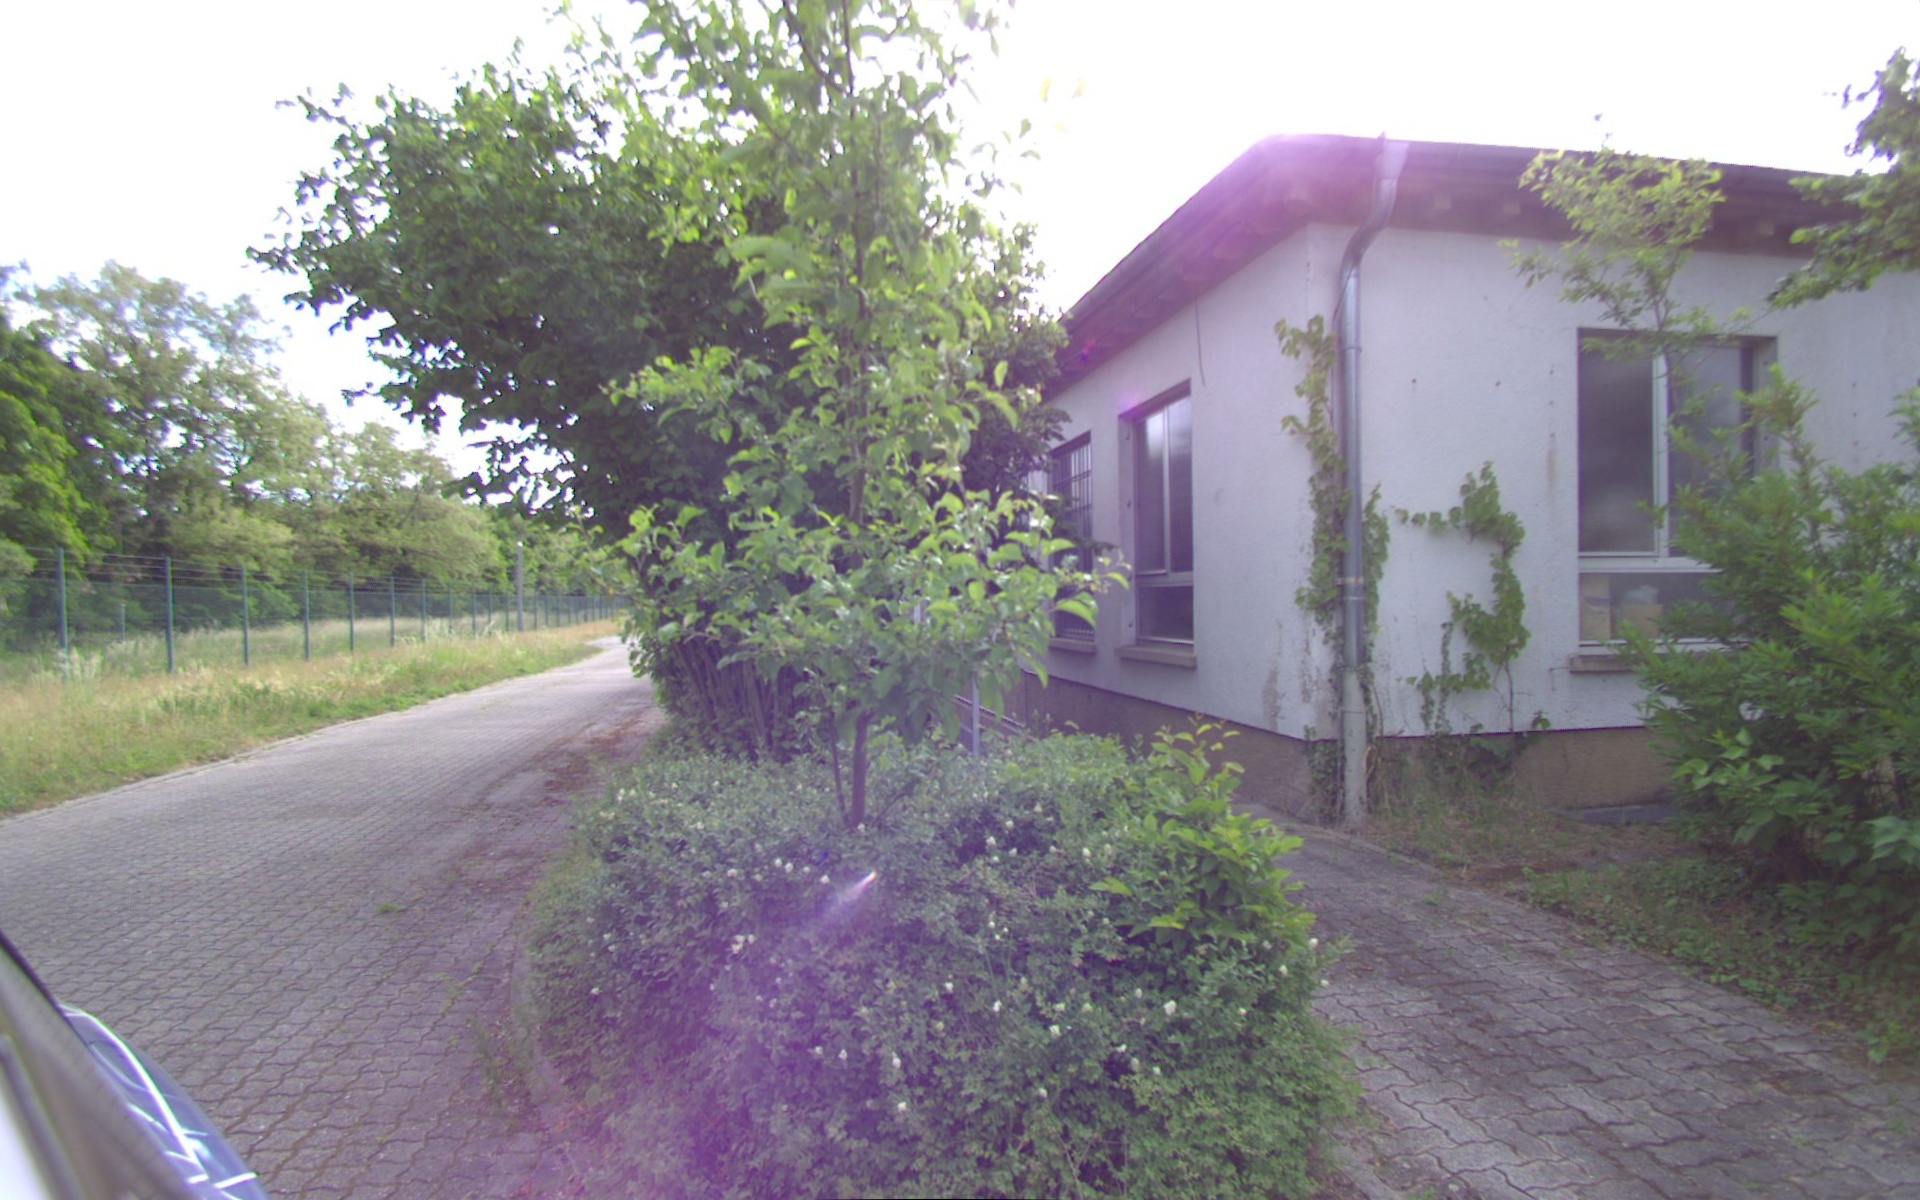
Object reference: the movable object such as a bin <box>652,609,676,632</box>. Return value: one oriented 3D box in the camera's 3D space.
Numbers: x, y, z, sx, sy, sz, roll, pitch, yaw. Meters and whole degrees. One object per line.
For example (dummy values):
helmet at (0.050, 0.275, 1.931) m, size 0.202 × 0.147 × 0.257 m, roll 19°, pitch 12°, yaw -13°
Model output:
movable object such as a bin at (-20.126, 1.365, 68.915) m, size 1.415 × 1.509 × 1.836 m, roll -1°, pitch 0°, yaw -11°
